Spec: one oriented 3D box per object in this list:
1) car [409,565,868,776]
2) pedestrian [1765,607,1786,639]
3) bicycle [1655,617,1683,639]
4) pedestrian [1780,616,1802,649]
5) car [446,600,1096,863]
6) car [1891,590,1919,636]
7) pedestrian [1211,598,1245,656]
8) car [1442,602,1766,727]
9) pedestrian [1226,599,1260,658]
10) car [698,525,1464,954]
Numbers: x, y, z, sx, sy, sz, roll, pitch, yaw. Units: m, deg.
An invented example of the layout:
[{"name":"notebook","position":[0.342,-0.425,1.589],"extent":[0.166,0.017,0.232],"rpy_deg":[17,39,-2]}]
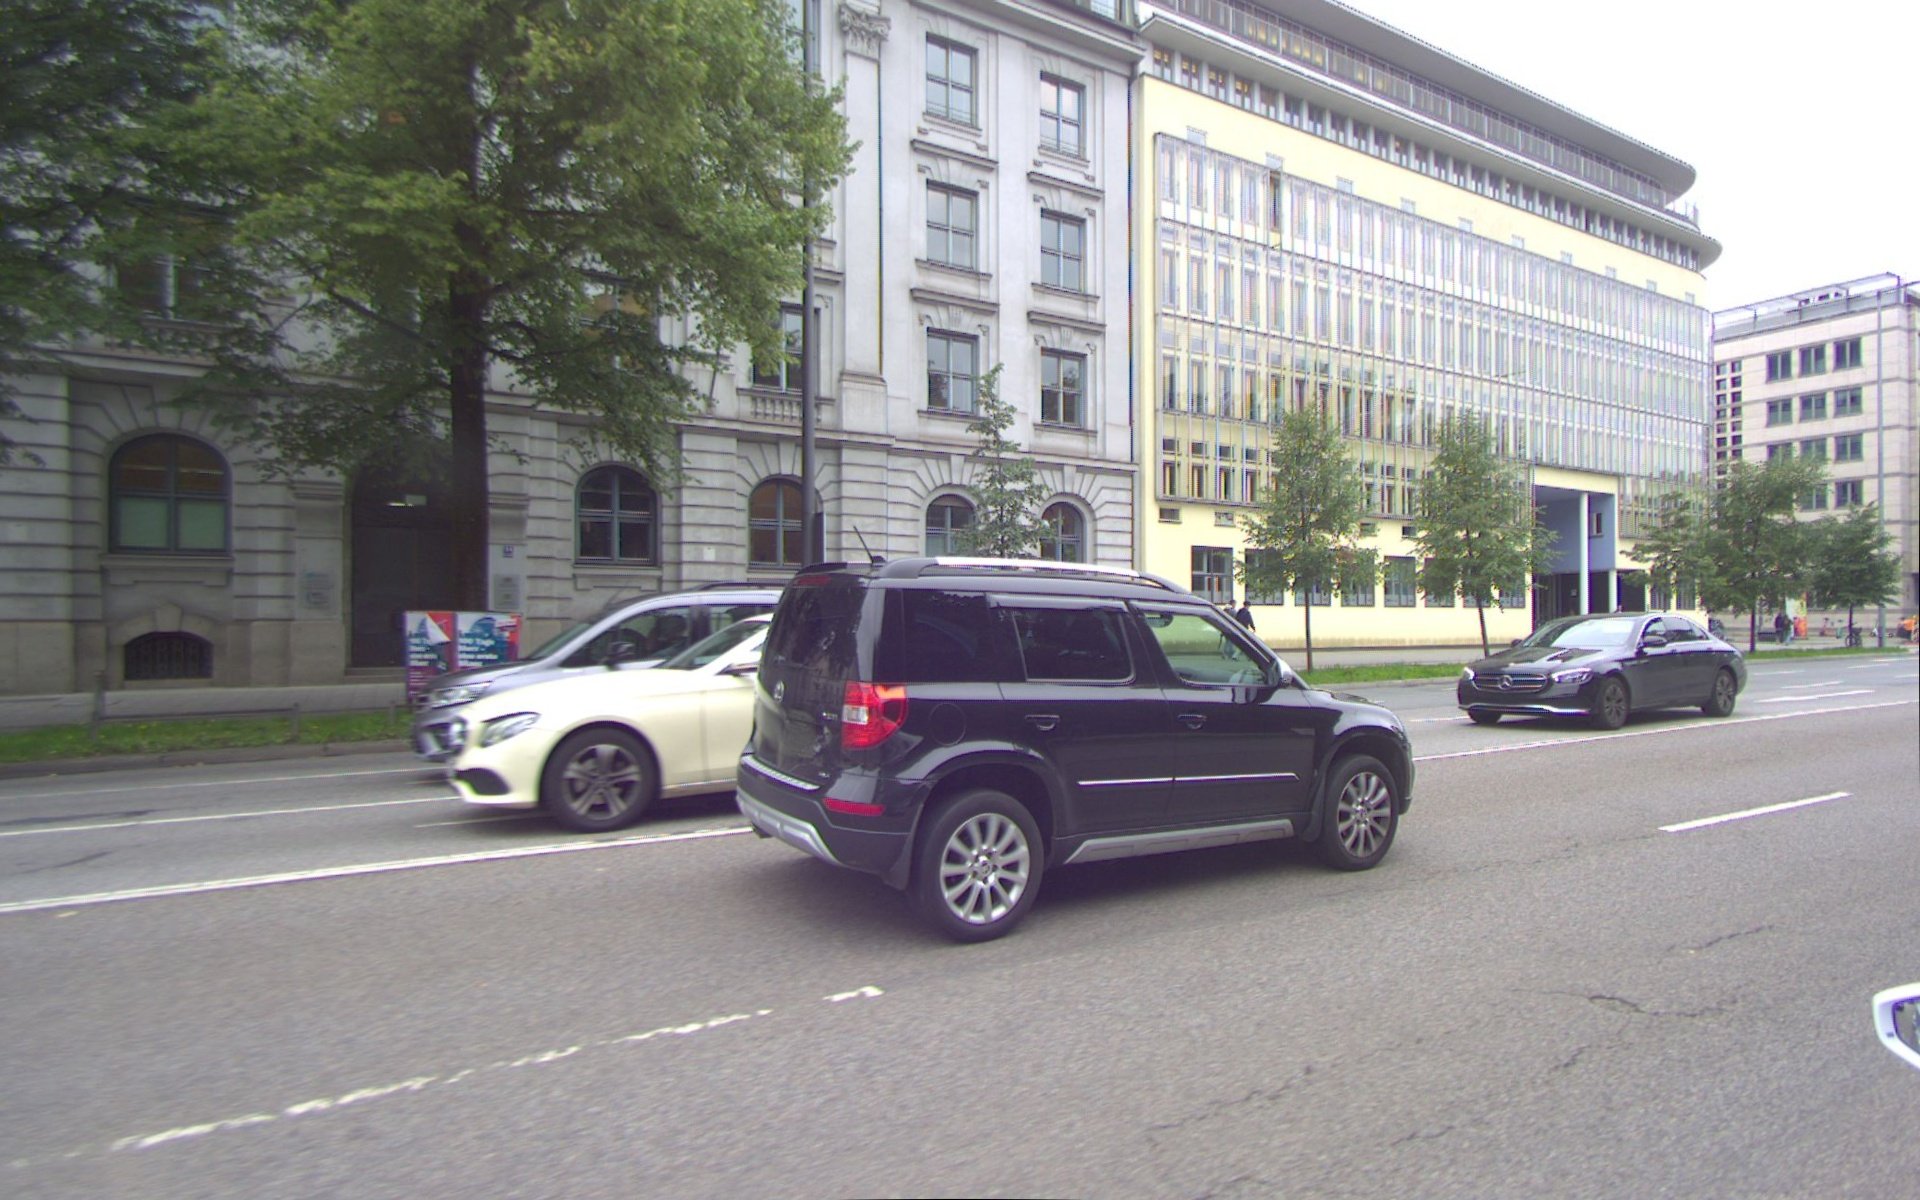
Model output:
[{"name":"car","position":[-3.223,0.613,10.272],"extent":[4.208,1.773,1.820],"rpy_deg":[0,-1,-29]},{"name":"pedestrian","position":[46.193,1.298,56.878],"extent":[0.665,1.799,0.680],"rpy_deg":[0,1,-26]},{"name":"bicycle","position":[34.181,1.350,48.442],"extent":[1.577,1.026,0.569],"rpy_deg":[0,1,-34]},{"name":"pedestrian","position":[46.549,1.811,56.237],"extent":[0.773,1.799,0.680],"rpy_deg":[0,1,-26]},{"name":"car","position":[-1.369,0.813,7.971],"extent":[4.766,1.562,1.819],"rpy_deg":[0,-1,-30]},{"name":"car","position":[55.808,0.724,55.827],"extent":[2.134,2.570,5.647],"rpy_deg":[0,-1,-33]},{"name":"pedestrian","position":[8.395,0.835,31.503],"extent":[0.826,1.801,0.612],"rpy_deg":[0,1,-30]},{"name":"car","position":[8.866,0.796,13.731],"extent":[4.690,1.442,1.759],"rpy_deg":[0,-2,-30]},{"name":"pedestrian","position":[8.722,0.871,30.956],"extent":[0.826,1.801,0.612],"rpy_deg":[0,1,-30]},{"name":"car","position":[0.808,0.561,5.695],"extent":[4.156,1.658,1.714],"rpy_deg":[0,-1,-31]}]
